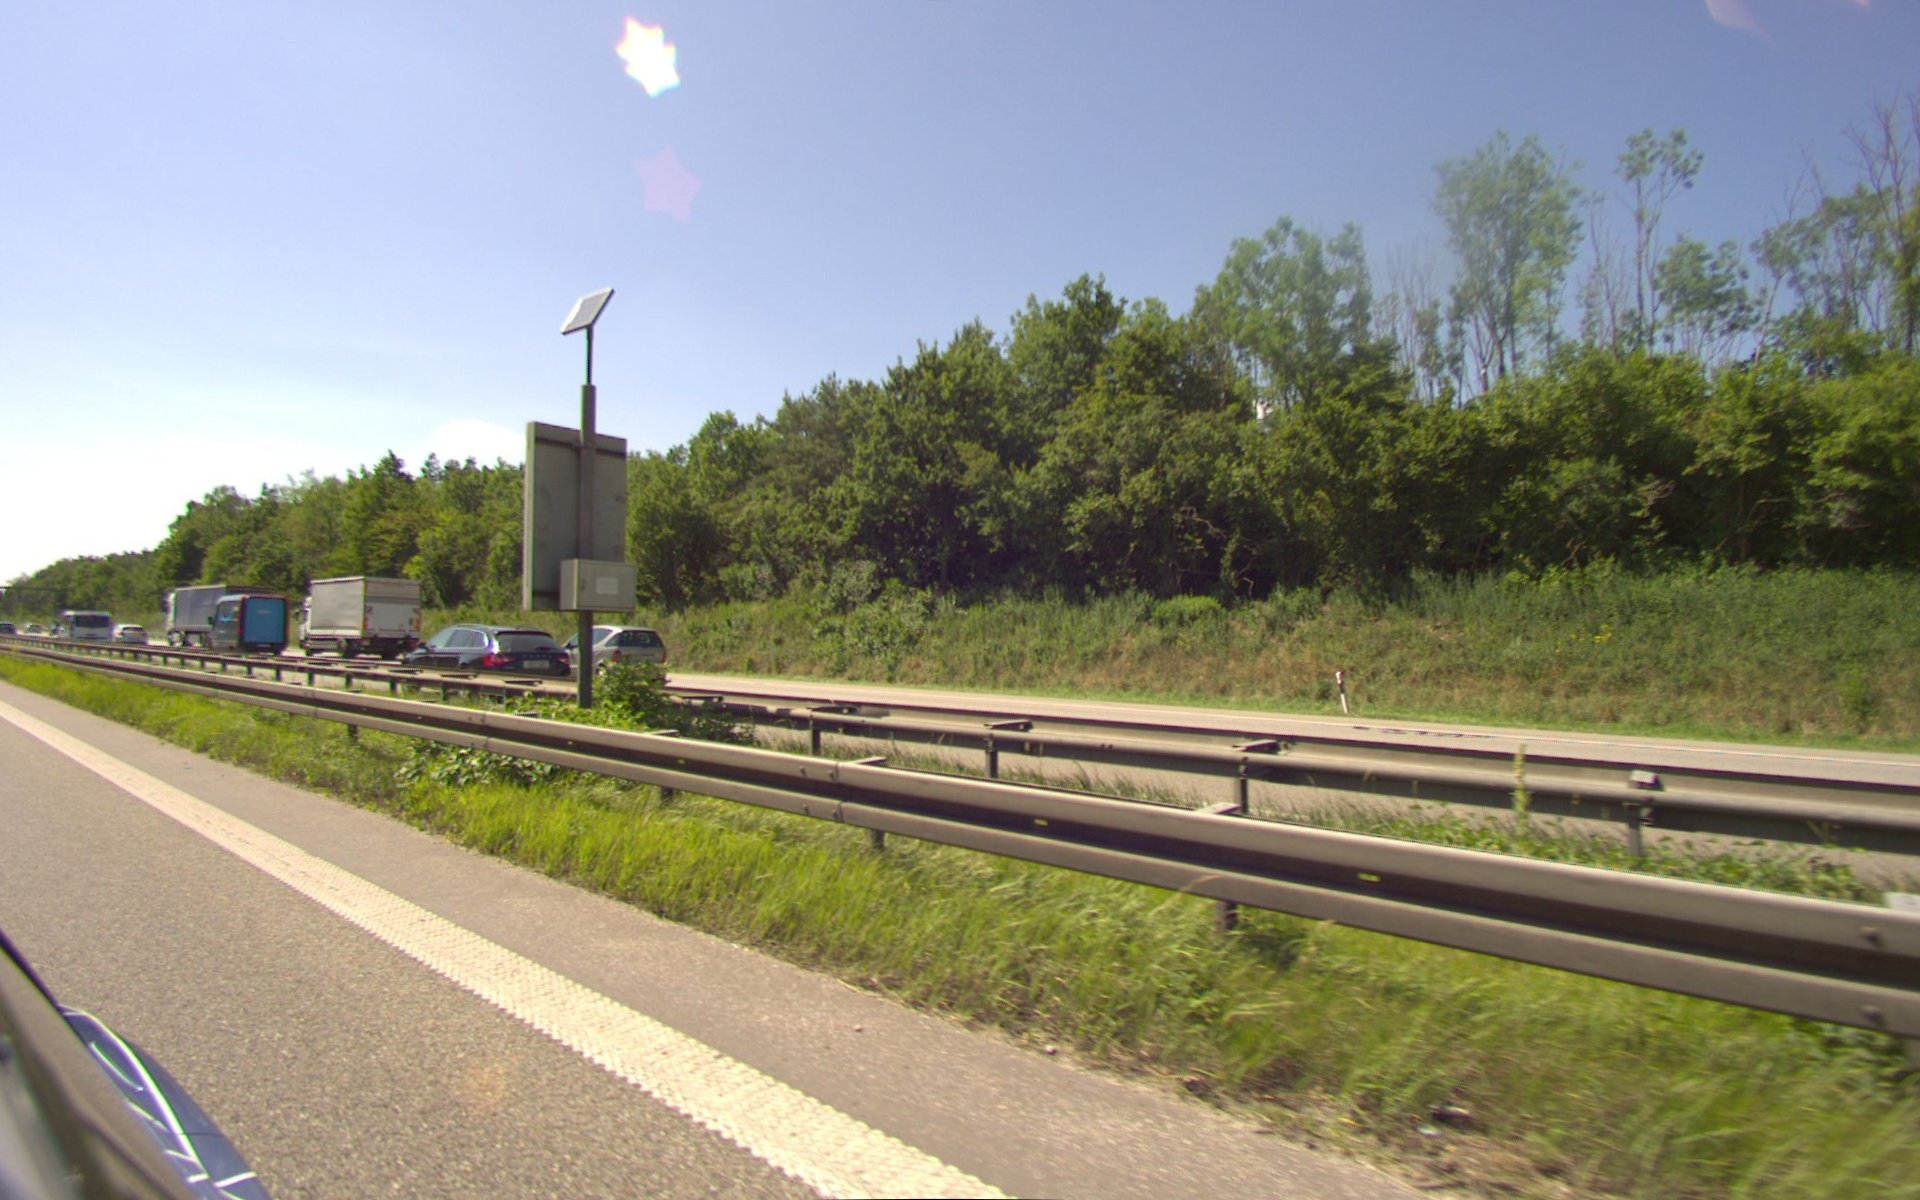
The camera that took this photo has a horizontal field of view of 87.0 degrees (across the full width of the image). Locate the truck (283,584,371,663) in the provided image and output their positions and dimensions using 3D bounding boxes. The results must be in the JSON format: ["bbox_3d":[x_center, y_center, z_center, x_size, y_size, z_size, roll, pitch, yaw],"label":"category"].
[{"bbox_3d":[-32.621,1.257,52.125,3.998,3.838,2.674,-1,-4,41],"label":"truck"}]

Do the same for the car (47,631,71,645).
[{"bbox_3d":[-107.960,4.529,121.286,4.367,1.580,1.578,-1,-5,41],"label":"car"}]

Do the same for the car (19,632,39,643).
[{"bbox_3d":[-134.023,5.345,145.670,4.940,1.504,1.610,-2,-5,42],"label":"car"}]

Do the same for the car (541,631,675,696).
[{"bbox_3d":[-8.942,1.559,25.624,3.543,1.507,1.657,-1,-3,41],"label":"car"}]

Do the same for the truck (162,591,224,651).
[{"bbox_3d":[-54.827,1.532,72.313,3.998,4.089,2.587,-2,-5,41],"label":"truck"}]

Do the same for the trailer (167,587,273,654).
[{"bbox_3d":[-49.832,1.422,67.897,14.163,4.089,2.587,-1,-4,42],"label":"trailer"}]

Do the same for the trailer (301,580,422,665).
[{"bbox_3d":[-29.036,1.139,48.955,7.689,3.838,2.683,-1,-4,42],"label":"trailer"}]

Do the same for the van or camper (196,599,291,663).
[{"bbox_3d":[-34.358,1.508,48.447,6.796,2.833,2.174,-1,-4,42],"label":"van or camper"}]

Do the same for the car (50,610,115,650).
[{"bbox_3d":[-47.638,1.633,54.909,5.232,1.996,1.907,-1,-5,42],"label":"car"}]

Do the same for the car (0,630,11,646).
[{"bbox_3d":[-87.785,3.415,91.924,4.817,1.416,1.788,-1,-3,42],"label":"car"}]

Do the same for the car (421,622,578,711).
[{"bbox_3d":[-8.852,1.211,19.349,3.456,1.540,1.418,-1,-3,41],"label":"car"}]

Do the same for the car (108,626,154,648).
[{"bbox_3d":[-56.049,2.477,68.430,4.502,1.429,1.695,-1,-3,42],"label":"car"}]
